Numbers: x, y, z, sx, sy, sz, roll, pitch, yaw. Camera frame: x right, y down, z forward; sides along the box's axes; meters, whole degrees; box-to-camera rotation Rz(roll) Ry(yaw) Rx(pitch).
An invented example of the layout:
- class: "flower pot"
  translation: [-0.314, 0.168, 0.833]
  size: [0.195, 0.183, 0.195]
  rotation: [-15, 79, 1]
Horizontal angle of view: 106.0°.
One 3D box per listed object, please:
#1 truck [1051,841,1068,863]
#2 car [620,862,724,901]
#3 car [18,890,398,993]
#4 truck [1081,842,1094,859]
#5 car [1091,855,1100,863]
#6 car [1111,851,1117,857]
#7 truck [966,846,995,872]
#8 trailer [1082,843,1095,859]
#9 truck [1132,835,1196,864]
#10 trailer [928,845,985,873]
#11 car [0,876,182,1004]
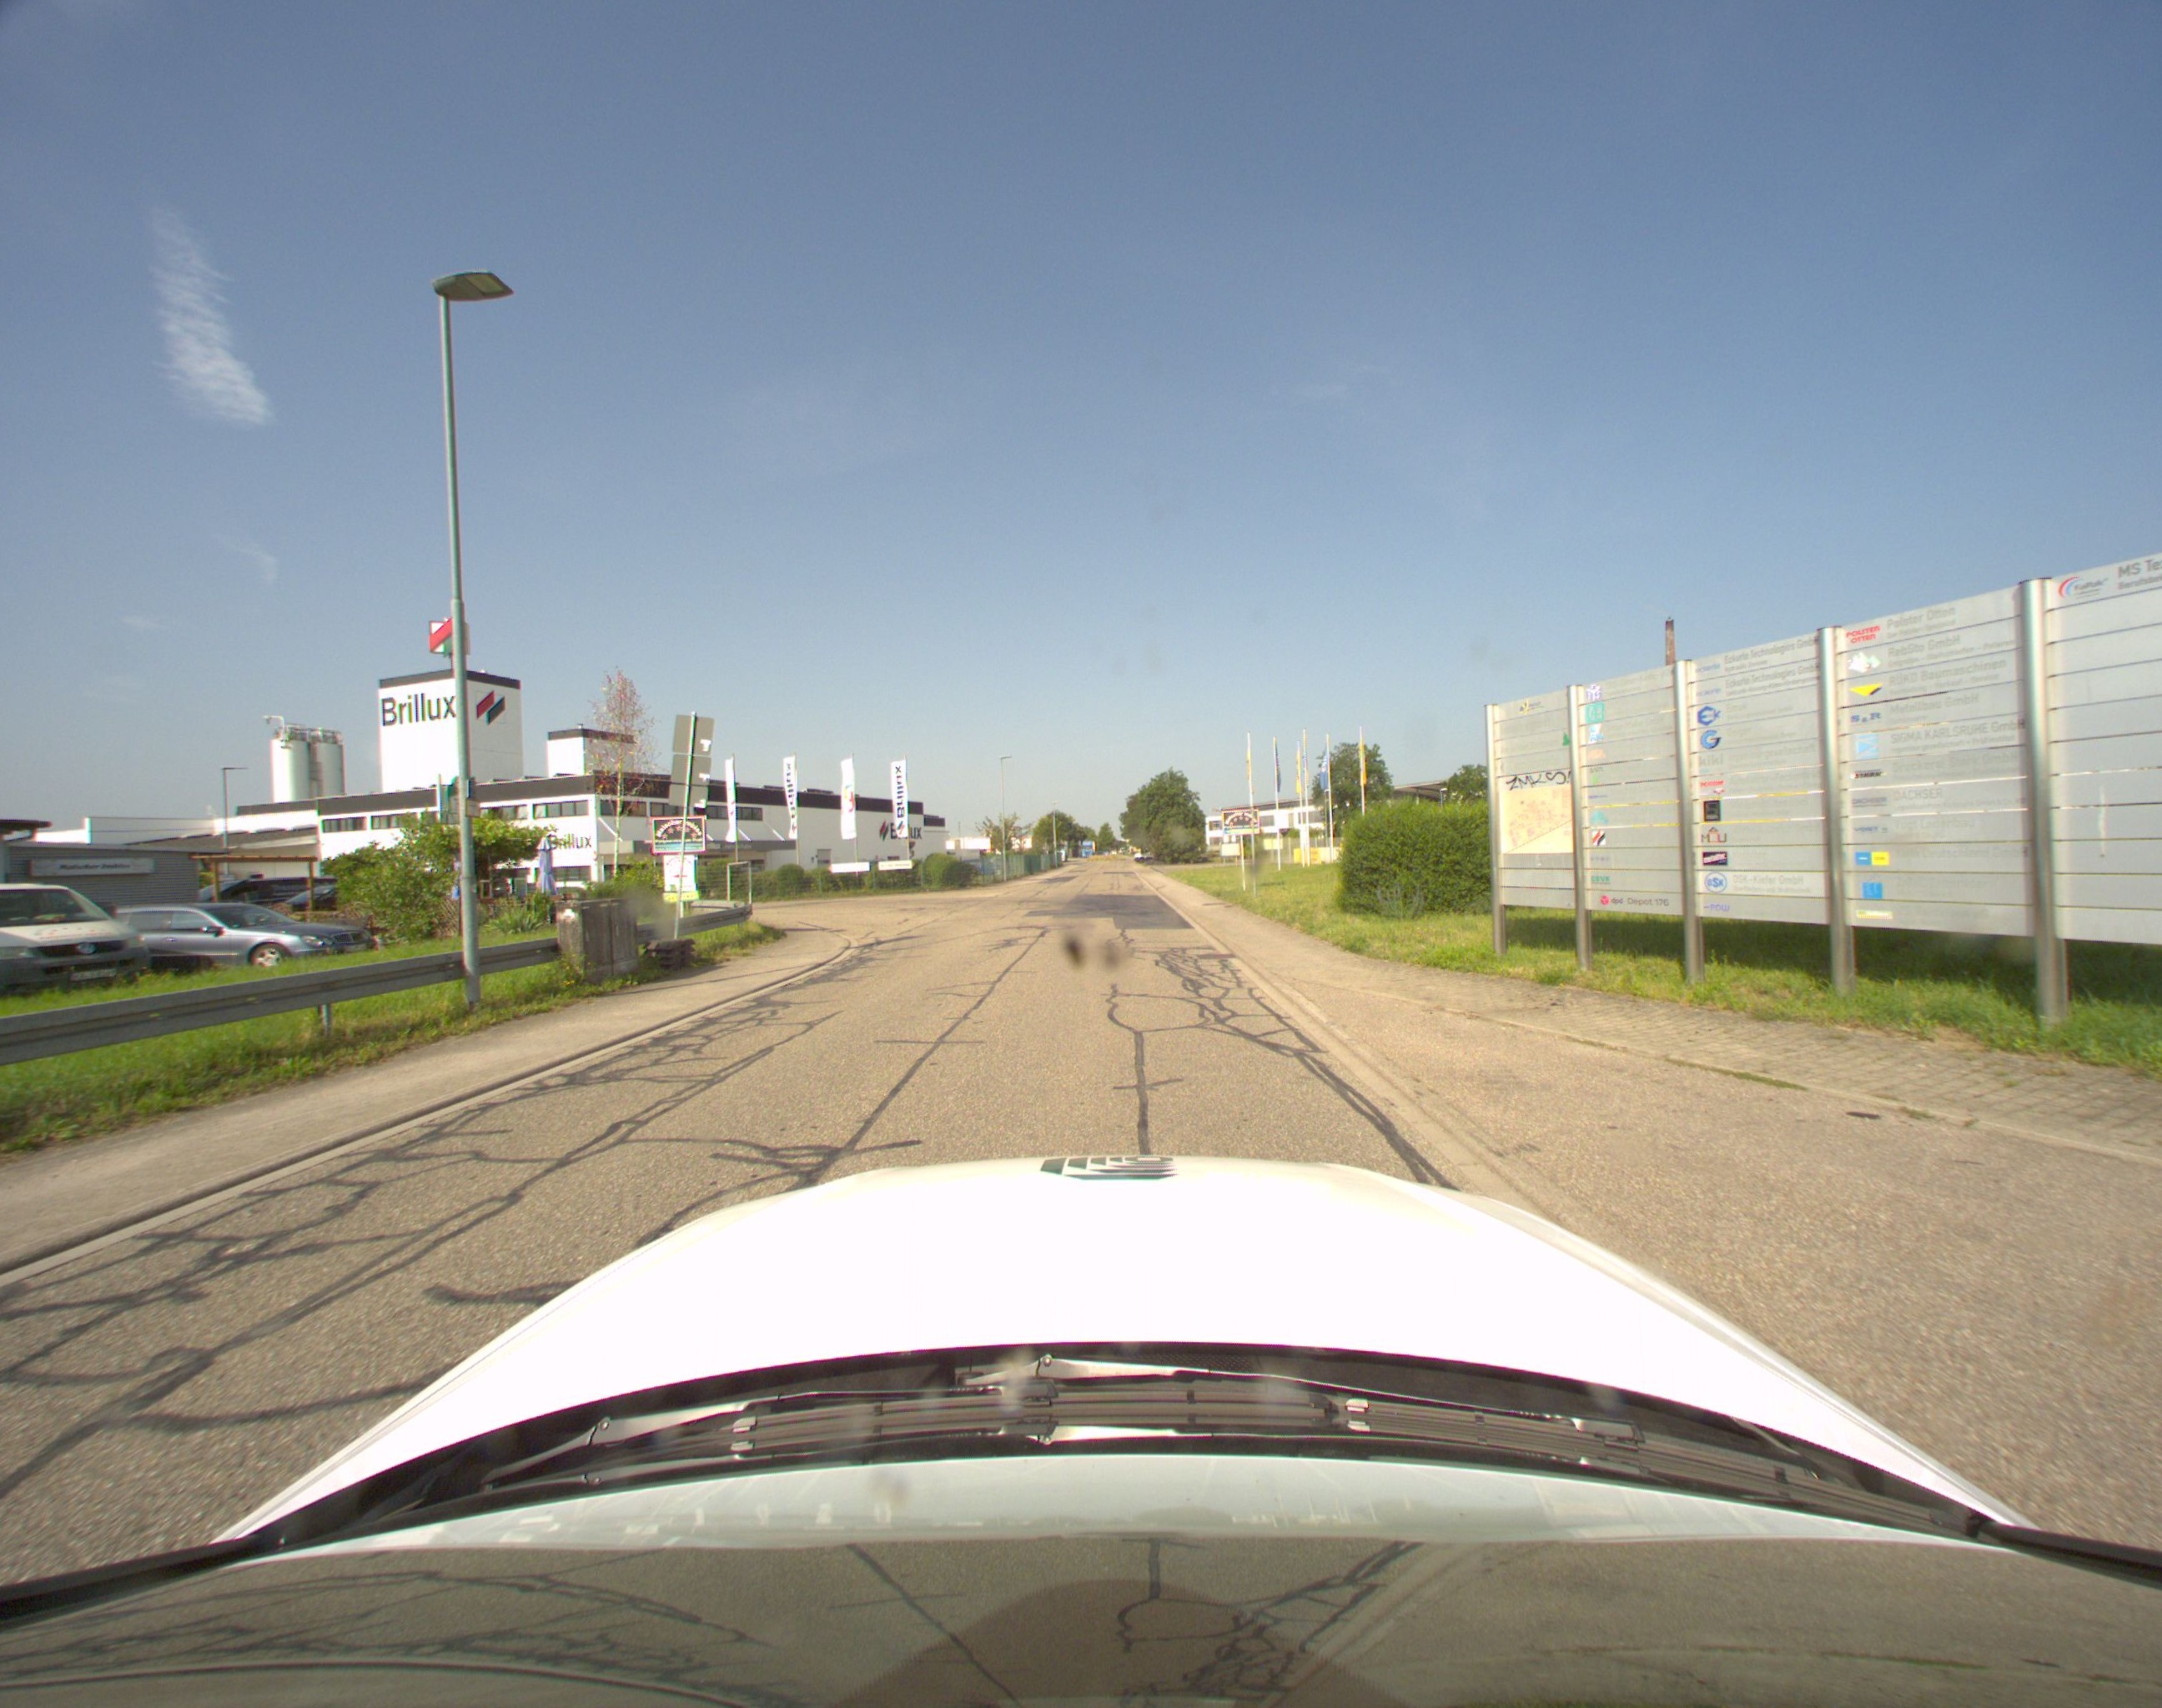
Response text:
- class: "truck"
  translation: [-3.877, -0.278, 147.718]
  size: [2.699, 3.922, 4.298]
  rotation: [0, -1, 1]
- class: "car"
  translation: [-20.641, 1.369, 41.144]
  size: [4.608, 1.752, 2.164]
  rotation: [-3, 0, 23]
- class: "car"
  translation: [-16.736, 1.619, 15.897]
  size: [4.820, 1.510, 1.957]
  rotation: [-3, 0, -8]
- class: "truck"
  translation: [1.483, -0.858, 191.935]
  size: [2.814, 3.826, 9.676]
  rotation: [0, -1, 2]
- class: "car"
  translation: [3.125, 1.092, 177.500]
  size: [1.987, 1.449, 4.420]
  rotation: [-4, 0, 1]
- class: "car"
  translation: [9.645, 0.011, 238.011]
  size: [1.712, 1.661, 3.823]
  rotation: [0, -1, 0]
- class: "truck"
  translation: [-16.161, 0.855, 130.881]
  size: [2.493, 4.071, 5.568]
  rotation: [-1, -1, 17]
- class: "trailer"
  translation: [1.839, -0.704, 201.994]
  size: [2.820, 3.843, 12.041]
  rotation: [0, -1, 2]
- class: "truck"
  translation: [10.910, -0.540, 107.507]
  size: [8.179, 3.370, 2.741]
  rotation: [-3, -1, 1]
- class: "trailer"
  translation: [-18.641, 0.813, 123.100]
  size: [2.462, 4.042, 13.952]
  rotation: [-1, -1, 18]
- class: "car"
  translation: [-17.356, 1.367, 12.484]
  size: [5.235, 1.706, 2.004]
  rotation: [-3, 0, 6]
